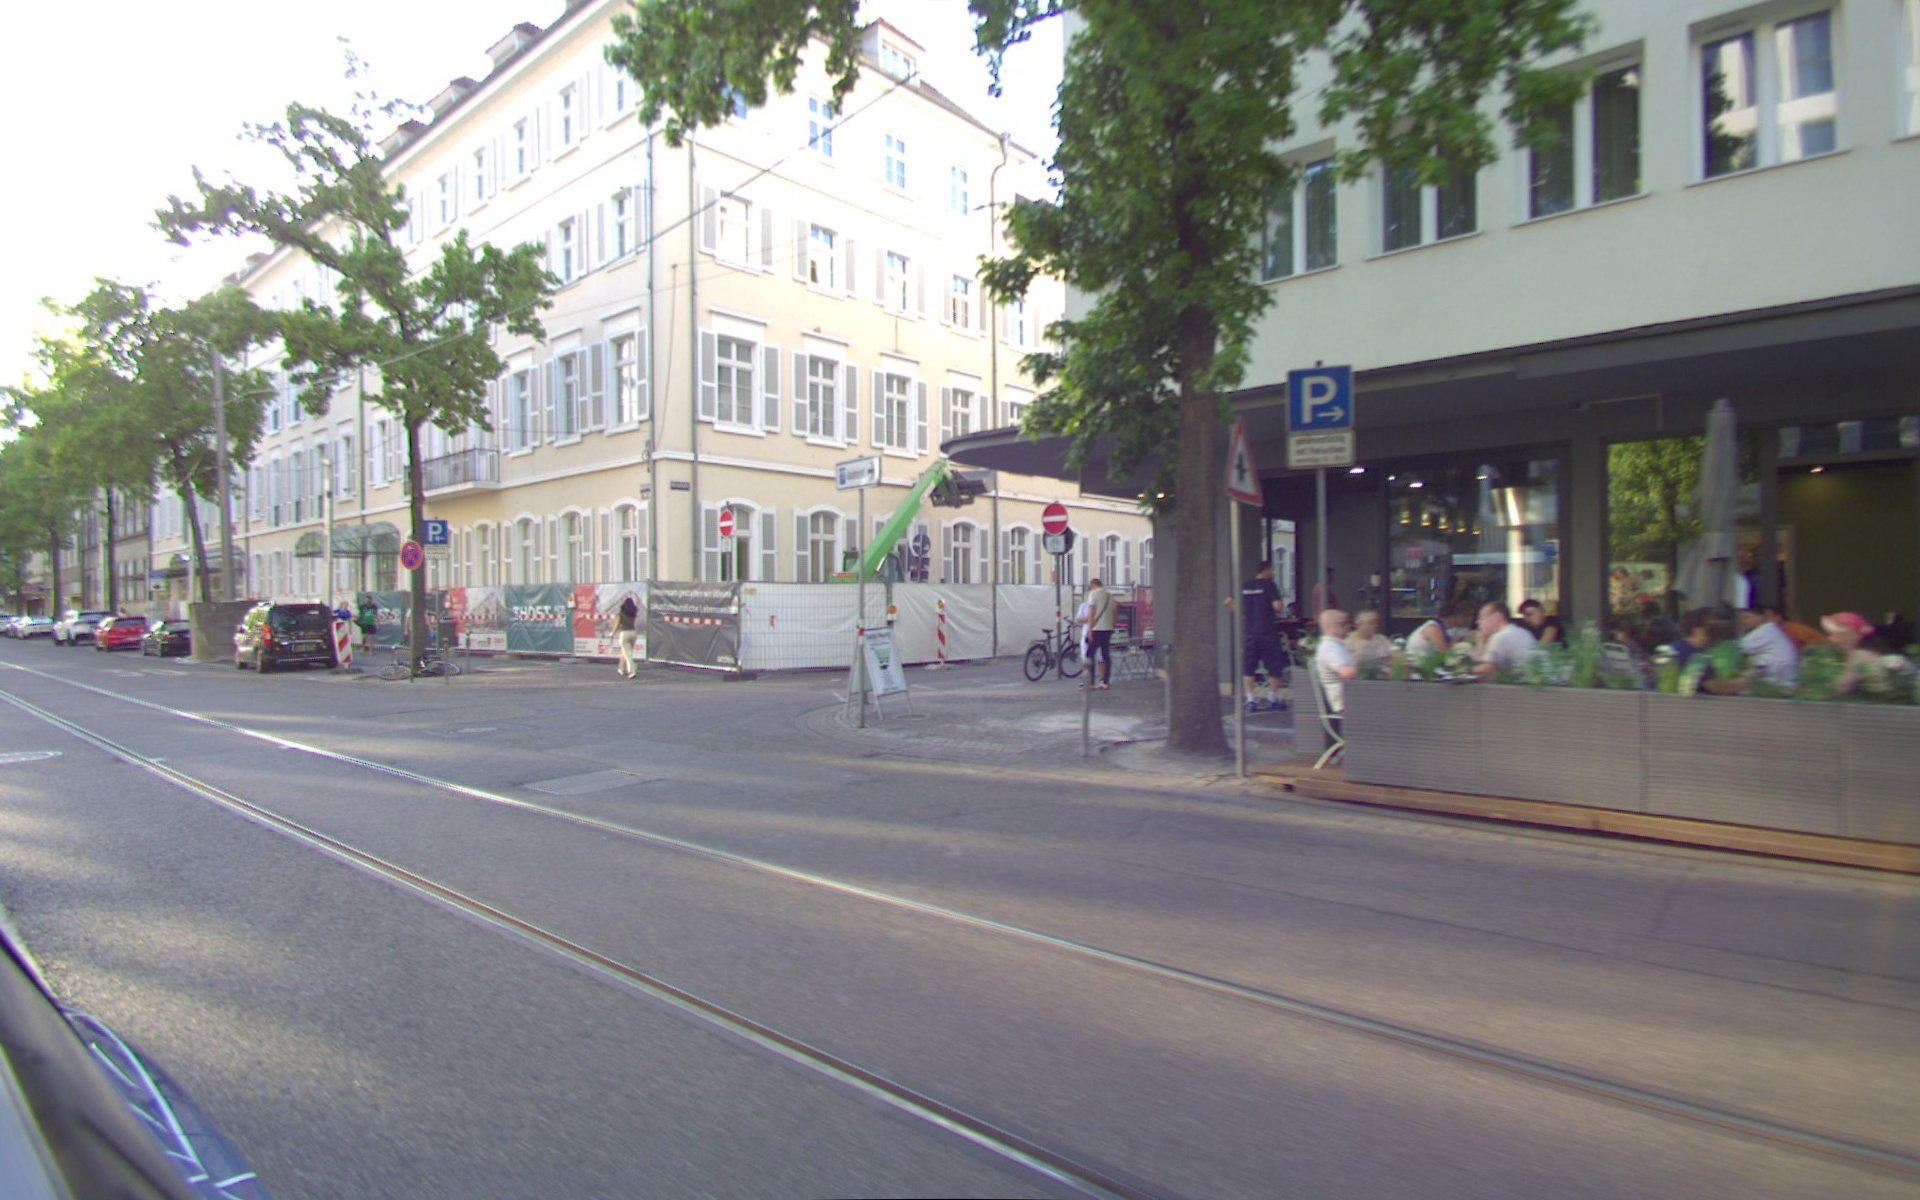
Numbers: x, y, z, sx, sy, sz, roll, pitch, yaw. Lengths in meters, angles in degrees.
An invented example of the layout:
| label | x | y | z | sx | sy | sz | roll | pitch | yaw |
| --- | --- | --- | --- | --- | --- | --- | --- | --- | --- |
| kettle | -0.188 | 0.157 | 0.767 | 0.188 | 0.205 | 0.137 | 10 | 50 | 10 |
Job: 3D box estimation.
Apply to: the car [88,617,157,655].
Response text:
| label | x | y | z | sx | sy | sz | roll | pitch | yaw |
| --- | --- | --- | --- | --- | --- | --- | --- | --- | --- |
| car | -35.175 | 1.487 | 42.471 | 4.140 | 1.416 | 1.642 | -1 | 2 | 43 |

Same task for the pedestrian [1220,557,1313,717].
| label | x | y | z | sx | sy | sz | roll | pitch | yaw |
| --- | --- | --- | --- | --- | --- | --- | --- | --- | --- |
| pedestrian | 3.687 | 0.422 | 12.189 | 0.675 | 1.829 | 0.766 | -2 | 1 | -33 |

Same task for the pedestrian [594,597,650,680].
| label | x | y | z | sx | sy | sz | roll | pitch | yaw |
| --- | --- | --- | --- | --- | --- | --- | --- | --- | --- |
| pedestrian | -7.005 | 0.795 | 20.959 | 0.967 | 1.669 | 0.699 | -2 | -2 | 43 |

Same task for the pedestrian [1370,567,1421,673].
| label | x | y | z | sx | sy | sz | roll | pitch | yaw |
| --- | --- | --- | --- | --- | --- | --- | --- | --- | --- |
| pedestrian | 6.714 | 0.308 | 15.624 | 0.615 | 1.616 | 0.498 | -1 | -1 | 16 |

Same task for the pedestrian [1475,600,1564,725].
| label | x | y | z | sx | sy | sz | roll | pitch | yaw |
| --- | --- | --- | --- | --- | --- | --- | --- | --- | --- |
| pedestrian | 5.900 | 0.638 | 10.671 | 0.686 | 1.245 | 0.546 | -1 | 1 | 42 |

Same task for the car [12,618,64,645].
| label | x | y | z | sx | sy | sz | roll | pitch | yaw |
| --- | --- | --- | --- | --- | --- | --- | --- | --- | --- |
| car | -56.014 | 1.903 | 61.449 | 4.615 | 1.477 | 1.873 | -1 | 2 | 42 |

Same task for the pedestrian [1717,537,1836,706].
| label | x | y | z | sx | sy | sz | roll | pitch | yaw |
| --- | --- | --- | --- | --- | --- | --- | --- | --- | --- |
| pedestrian | 9.293 | 0.231 | 11.535 | 0.754 | 1.833 | 0.688 | -2 | 1 | -9 |

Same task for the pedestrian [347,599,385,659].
| label | x | y | z | sx | sy | sz | roll | pitch | yaw |
| --- | --- | --- | --- | --- | --- | --- | --- | --- | --- |
| pedestrian | -18.795 | 0.908 | 32.015 | 0.876 | 1.826 | 0.712 | -1 | 2 | 41 |

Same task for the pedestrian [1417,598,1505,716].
| label | x | y | z | sx | sy | sz | roll | pitch | yaw |
| --- | --- | --- | --- | --- | --- | --- | --- | --- | --- |
| pedestrian | 5.737 | 0.629 | 11.586 | 0.738 | 1.279 | 0.638 | -1 | 1 | 42 |

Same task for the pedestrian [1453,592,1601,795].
| label | x | y | z | sx | sy | sz | roll | pitch | yaw |
| --- | --- | --- | --- | --- | --- | --- | --- | --- | --- |
| pedestrian | 4.233 | 0.654 | 7.550 | 0.807 | 1.397 | 0.682 | -1 | 1 | 42 |

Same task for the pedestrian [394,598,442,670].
| label | x | y | z | sx | sy | sz | roll | pitch | yaw |
| --- | --- | --- | --- | --- | --- | --- | --- | --- | --- |
| pedestrian | -14.214 | 0.871 | 26.531 | 0.984 | 1.805 | 0.766 | -1 | 2 | 43 |

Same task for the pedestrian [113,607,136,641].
| label | x | y | z | sx | sy | sz | roll | pitch | yaw |
| --- | --- | --- | --- | --- | --- | --- | --- | --- | --- |
| pedestrian | -43.668 | 1.254 | 52.880 | 0.933 | 1.755 | 0.736 | -1 | 2 | 42 |

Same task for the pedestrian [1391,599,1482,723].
| label | x | y | z | sx | sy | sz | roll | pitch | yaw |
| --- | --- | --- | --- | --- | --- | --- | --- | --- | --- |
| pedestrian | 5.249 | 0.651 | 11.145 | 0.727 | 1.291 | 0.620 | -1 | 1 | 42 |

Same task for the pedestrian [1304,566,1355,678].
| label | x | y | z | sx | sy | sz | roll | pitch | yaw |
| --- | --- | --- | --- | --- | --- | --- | --- | --- | --- |
| pedestrian | 5.457 | 0.324 | 14.958 | 0.398 | 1.616 | 0.623 | -1 | -1 | -15 |

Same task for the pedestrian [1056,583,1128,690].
| label | x | y | z | sx | sy | sz | roll | pitch | yaw |
| --- | --- | --- | --- | --- | --- | --- | --- | --- | --- |
| pedestrian | 2.112 | 0.579 | 16.172 | 0.861 | 1.627 | 0.791 | -4 | -1 | 25 |

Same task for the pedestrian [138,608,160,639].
| label | x | y | z | sx | sy | sz | roll | pitch | yaw |
| --- | --- | --- | --- | --- | --- | --- | --- | --- | --- |
| pedestrian | -42.886 | 1.228 | 53.518 | 0.933 | 1.592 | 0.736 | -1 | 2 | 42 |

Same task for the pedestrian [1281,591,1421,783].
| label | x | y | z | sx | sy | sz | roll | pitch | yaw |
| --- | --- | --- | --- | --- | --- | --- | --- | --- | --- |
| pedestrian | 3.083 | 0.644 | 7.987 | 0.807 | 1.397 | 0.682 | -1 | 1 | 42 |

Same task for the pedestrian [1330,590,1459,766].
| label | x | y | z | sx | sy | sz | roll | pitch | yaw |
| --- | --- | --- | --- | --- | --- | --- | --- | --- | --- |
| pedestrian | 3.716 | 0.633 | 8.661 | 0.807 | 1.397 | 0.682 | -1 | 1 | 42 |

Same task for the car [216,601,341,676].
| label | x | y | z | sx | sy | sz | roll | pitch | yaw |
| --- | --- | --- | --- | --- | --- | --- | --- | --- | --- |
| car | -18.645 | 1.002 | 27.613 | 4.559 | 1.846 | 1.837 | -1 | 0 | 43 |

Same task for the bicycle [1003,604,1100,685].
| label | x | y | z | sx | sy | sz | roll | pitch | yaw |
| --- | --- | --- | --- | --- | --- | --- | --- | --- | --- |
| bicycle | 1.695 | 0.796 | 18.493 | 0.712 | 1.391 | 1.854 | -5 | -3 | 43 |

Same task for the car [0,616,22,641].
| label | x | y | z | sx | sy | sz | roll | pitch | yaw |
| --- | --- | --- | --- | --- | --- | --- | --- | --- | --- |
| car | -70.543 | 2.134 | 74.319 | 4.763 | 1.754 | 1.927 | -2 | 2 | 41 |

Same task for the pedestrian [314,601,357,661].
| label | x | y | z | sx | sy | sz | roll | pitch | yaw |
| --- | --- | --- | --- | --- | --- | --- | --- | --- | --- |
| pedestrian | -19.379 | 0.949 | 31.403 | 0.884 | 1.795 | 0.856 | -1 | 2 | 41 |

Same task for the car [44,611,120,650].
| label | x | y | z | sx | sy | sz | roll | pitch | yaw |
| --- | --- | --- | --- | --- | --- | --- | --- | --- | --- |
| car | -42.536 | 1.458 | 48.984 | 4.945 | 1.701 | 1.848 | -1 | 2 | 39 |

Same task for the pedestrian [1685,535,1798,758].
| label | x | y | z | sx | sy | sz | roll | pitch | yaw |
| --- | --- | --- | --- | --- | --- | --- | --- | --- | --- |
| pedestrian | 6.675 | 0.371 | 8.678 | 0.685 | 1.805 | 0.750 | -1 | 1 | 35 |

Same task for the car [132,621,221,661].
| label | x | y | z | sx | sy | sz | roll | pitch | yaw |
| --- | --- | --- | --- | --- | --- | --- | --- | --- | --- |
| car | -28.556 | 1.451 | 36.830 | 4.505 | 1.254 | 1.700 | -1 | 2 | 41 |

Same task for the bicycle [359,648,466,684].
| label | x | y | z | sx | sy | sz | roll | pitch | yaw |
| --- | --- | --- | --- | --- | --- | --- | --- | --- | --- |
| bicycle | -12.006 | 1.432 | 22.221 | 1.283 | 0.613 | 1.775 | -1 | 1 | 45 |

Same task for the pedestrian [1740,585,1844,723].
| label | x | y | z | sx | sy | sz | roll | pitch | yaw |
| --- | --- | --- | --- | --- | --- | --- | --- | --- | --- |
| pedestrian | 7.484 | 0.469 | 9.107 | 0.686 | 1.170 | 0.546 | -1 | 1 | 42 |

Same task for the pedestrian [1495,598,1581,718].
| label | x | y | z | sx | sy | sz | roll | pitch | yaw |
| --- | --- | --- | --- | --- | --- | --- | --- | --- | --- |
| pedestrian | 6.309 | 0.614 | 11.046 | 0.686 | 1.245 | 0.546 | -1 | 1 | 42 |

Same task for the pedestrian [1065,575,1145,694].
| label | x | y | z | sx | sy | sz | roll | pitch | yaw |
| --- | --- | --- | --- | --- | --- | --- | --- | --- | --- |
| pedestrian | 2.227 | 0.512 | 15.549 | 0.851 | 1.754 | 0.800 | -1 | -1 | -30 |

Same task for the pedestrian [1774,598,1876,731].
| label | x | y | z | sx | sy | sz | roll | pitch | yaw |
| --- | --- | --- | --- | --- | --- | --- | --- | --- | --- |
| pedestrian | 8.085 | 0.582 | 9.465 | 0.686 | 1.170 | 0.546 | -1 | 1 | 42 |
